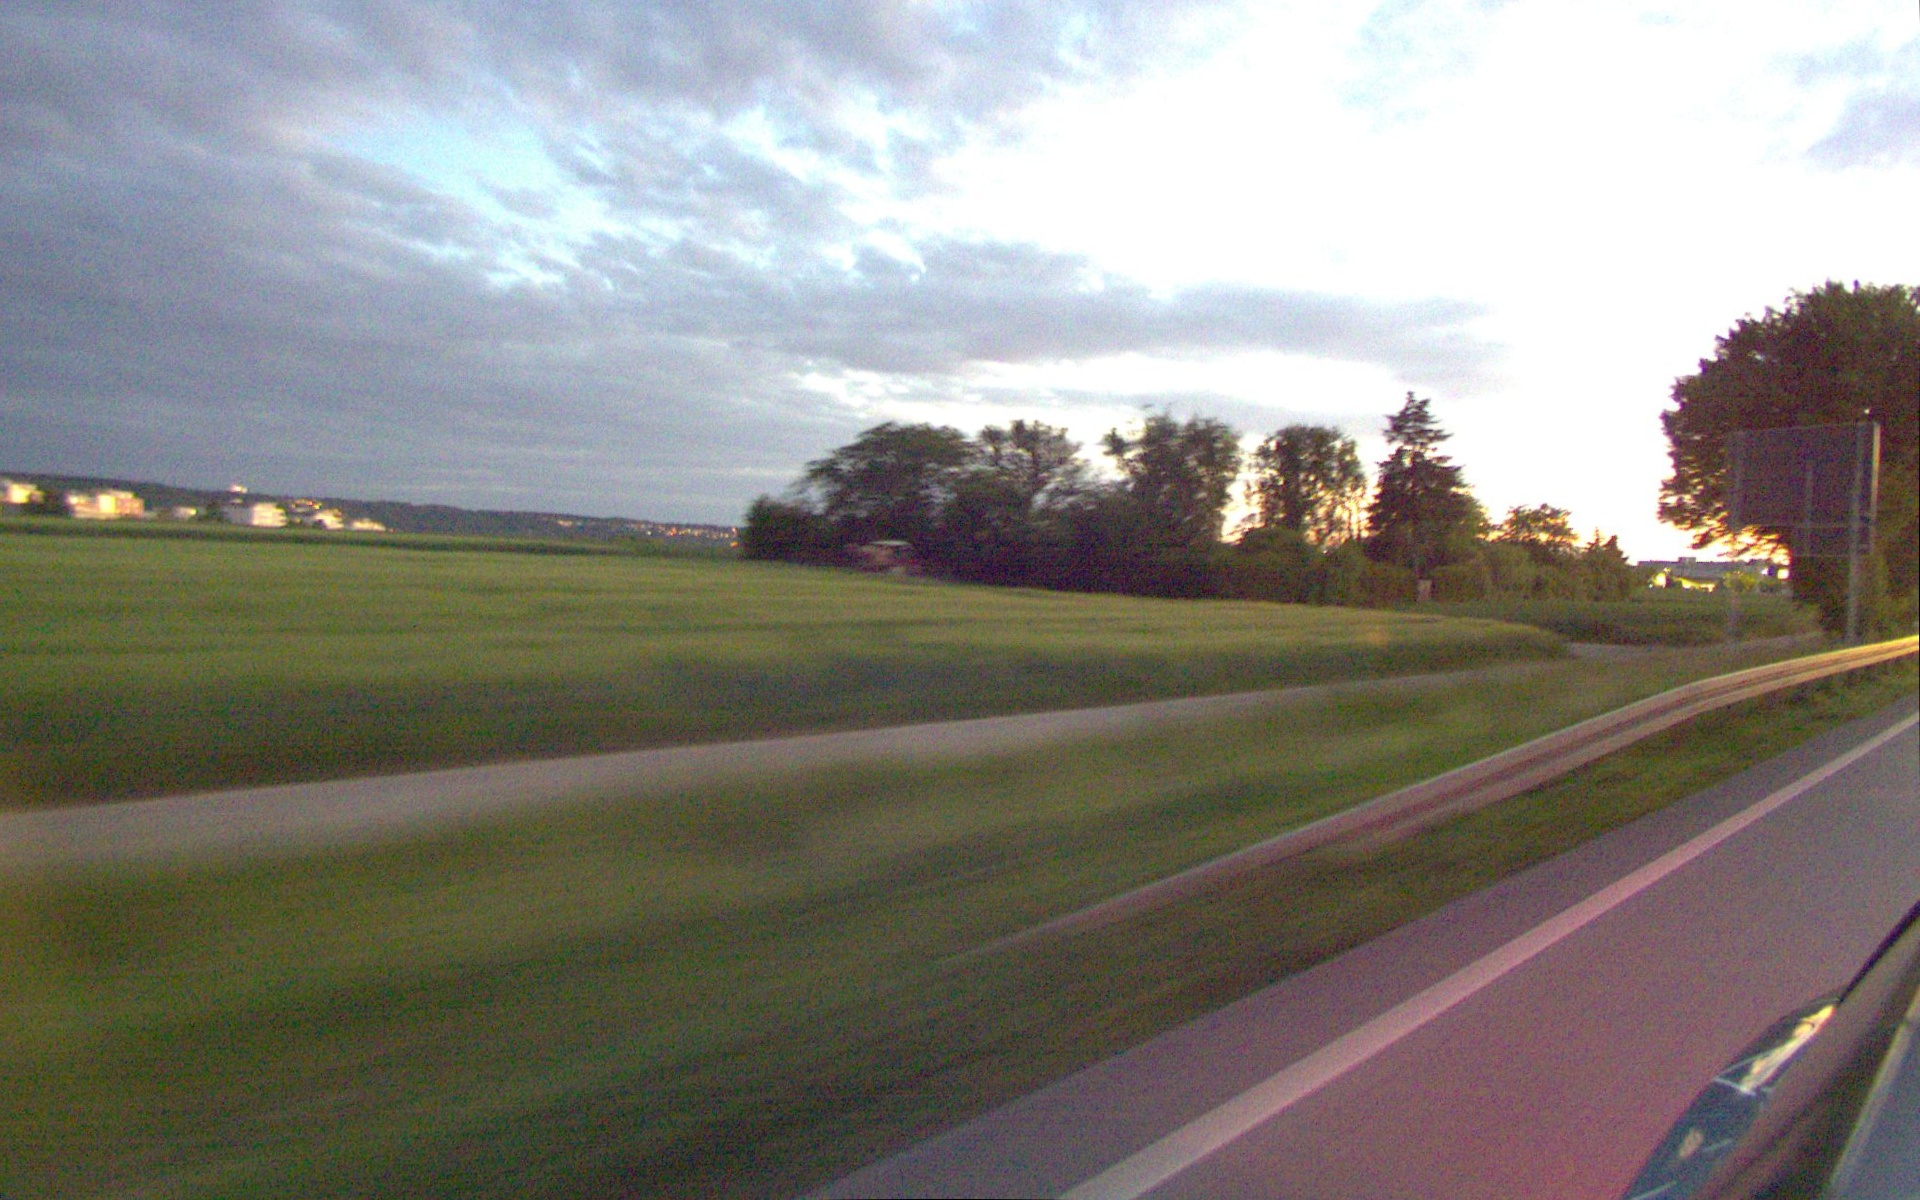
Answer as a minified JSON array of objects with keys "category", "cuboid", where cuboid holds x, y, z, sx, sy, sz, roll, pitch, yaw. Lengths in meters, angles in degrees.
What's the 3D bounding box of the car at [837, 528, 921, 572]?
[{"category":"car","cuboid":[-4.286,-2.649,54.168,1.989,2.178,4.520,4,3,36]}]
